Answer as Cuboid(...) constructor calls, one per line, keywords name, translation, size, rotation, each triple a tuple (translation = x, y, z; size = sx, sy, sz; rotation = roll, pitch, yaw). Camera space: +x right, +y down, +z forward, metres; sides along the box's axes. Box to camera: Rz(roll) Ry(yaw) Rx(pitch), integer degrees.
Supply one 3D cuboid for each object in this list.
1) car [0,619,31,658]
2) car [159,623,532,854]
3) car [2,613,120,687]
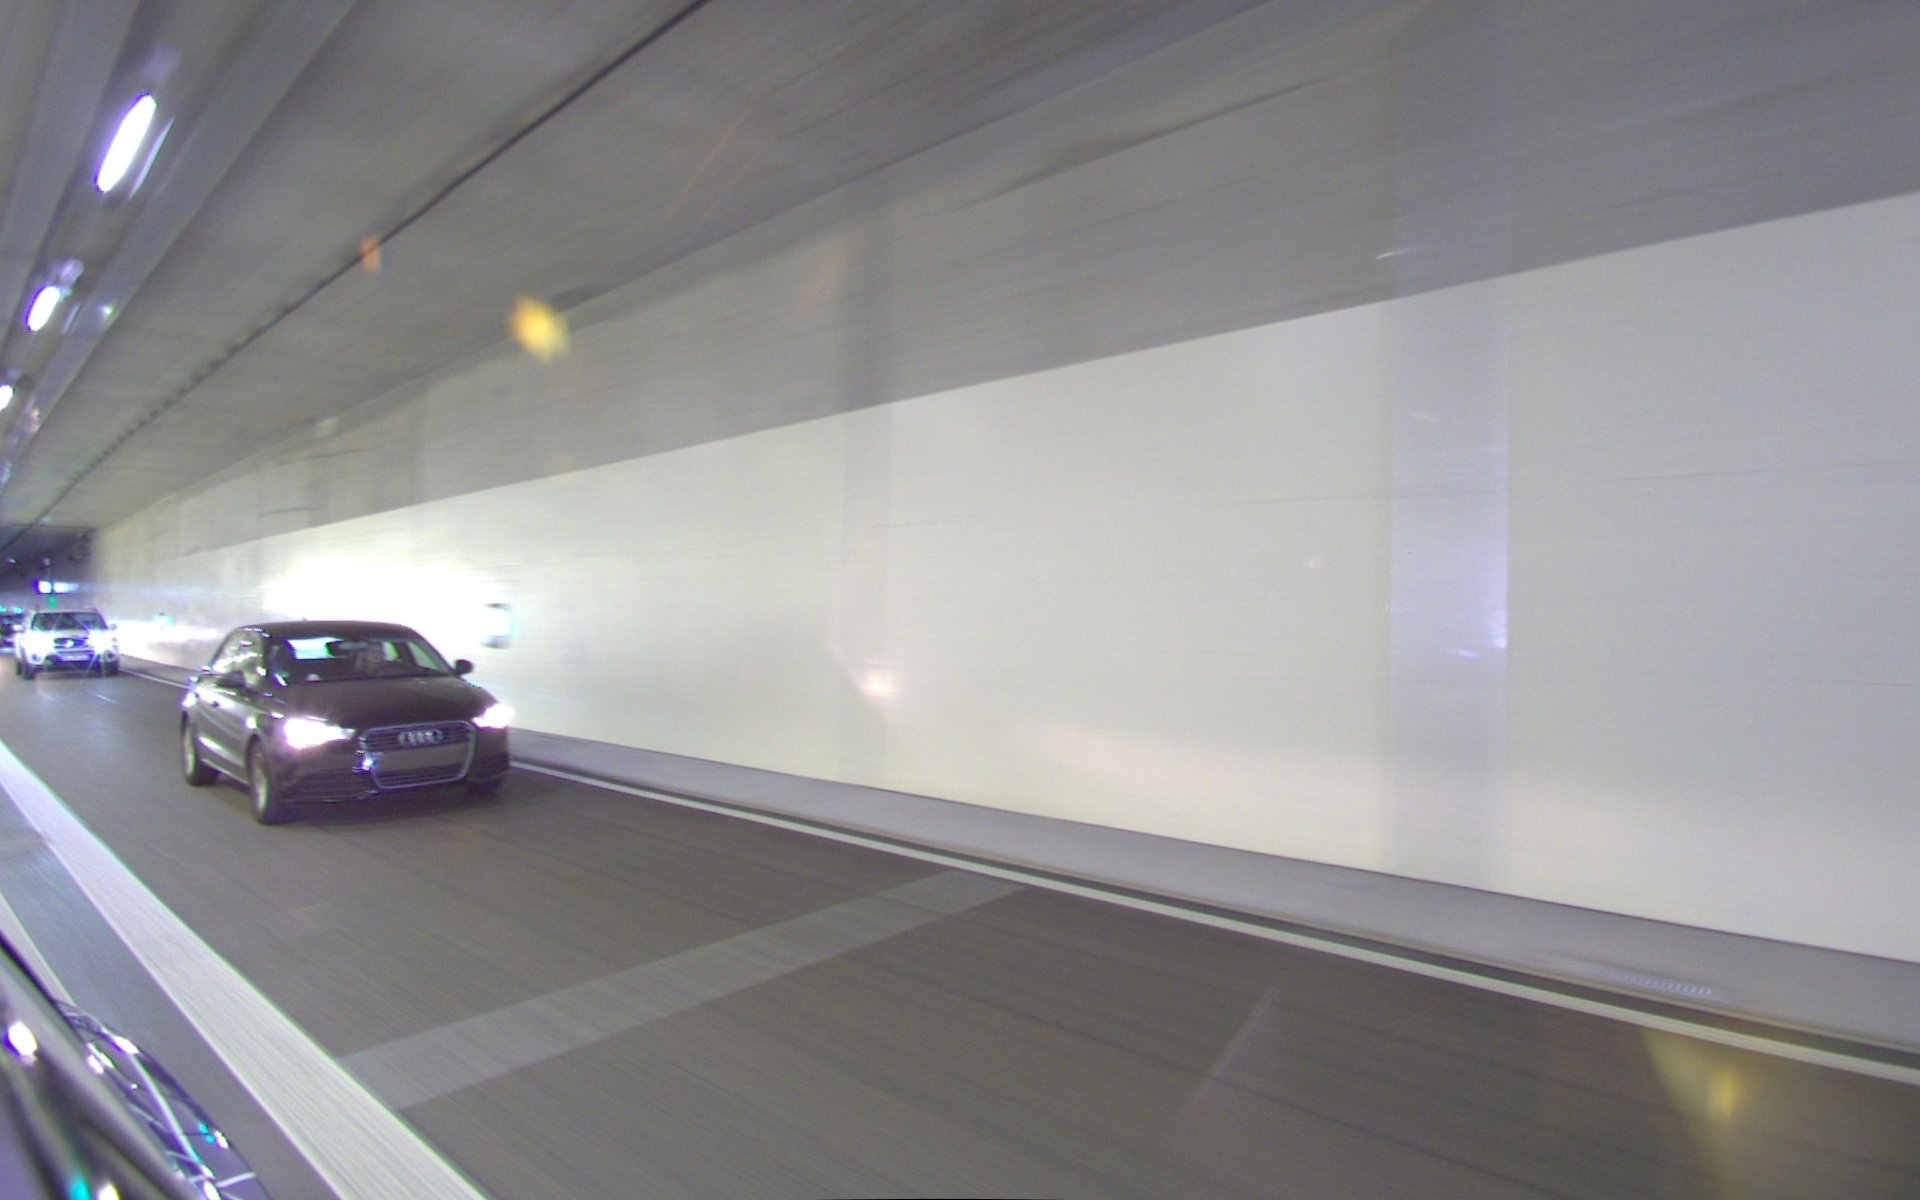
Cuboid(name="car", translation=(-39.357, 1.574, 41.544), size=(3.682, 1.481, 1.586), rotation=(-1, 1, 45))
Cuboid(name="car", translation=(-5.190, 0.917, 8.323), size=(3.876, 1.412, 1.638), rotation=(-1, -1, 43))
Cuboid(name="car", translation=(-22.302, 1.177, 25.077), size=(3.831, 1.677, 1.829), rotation=(-1, -1, 43))
